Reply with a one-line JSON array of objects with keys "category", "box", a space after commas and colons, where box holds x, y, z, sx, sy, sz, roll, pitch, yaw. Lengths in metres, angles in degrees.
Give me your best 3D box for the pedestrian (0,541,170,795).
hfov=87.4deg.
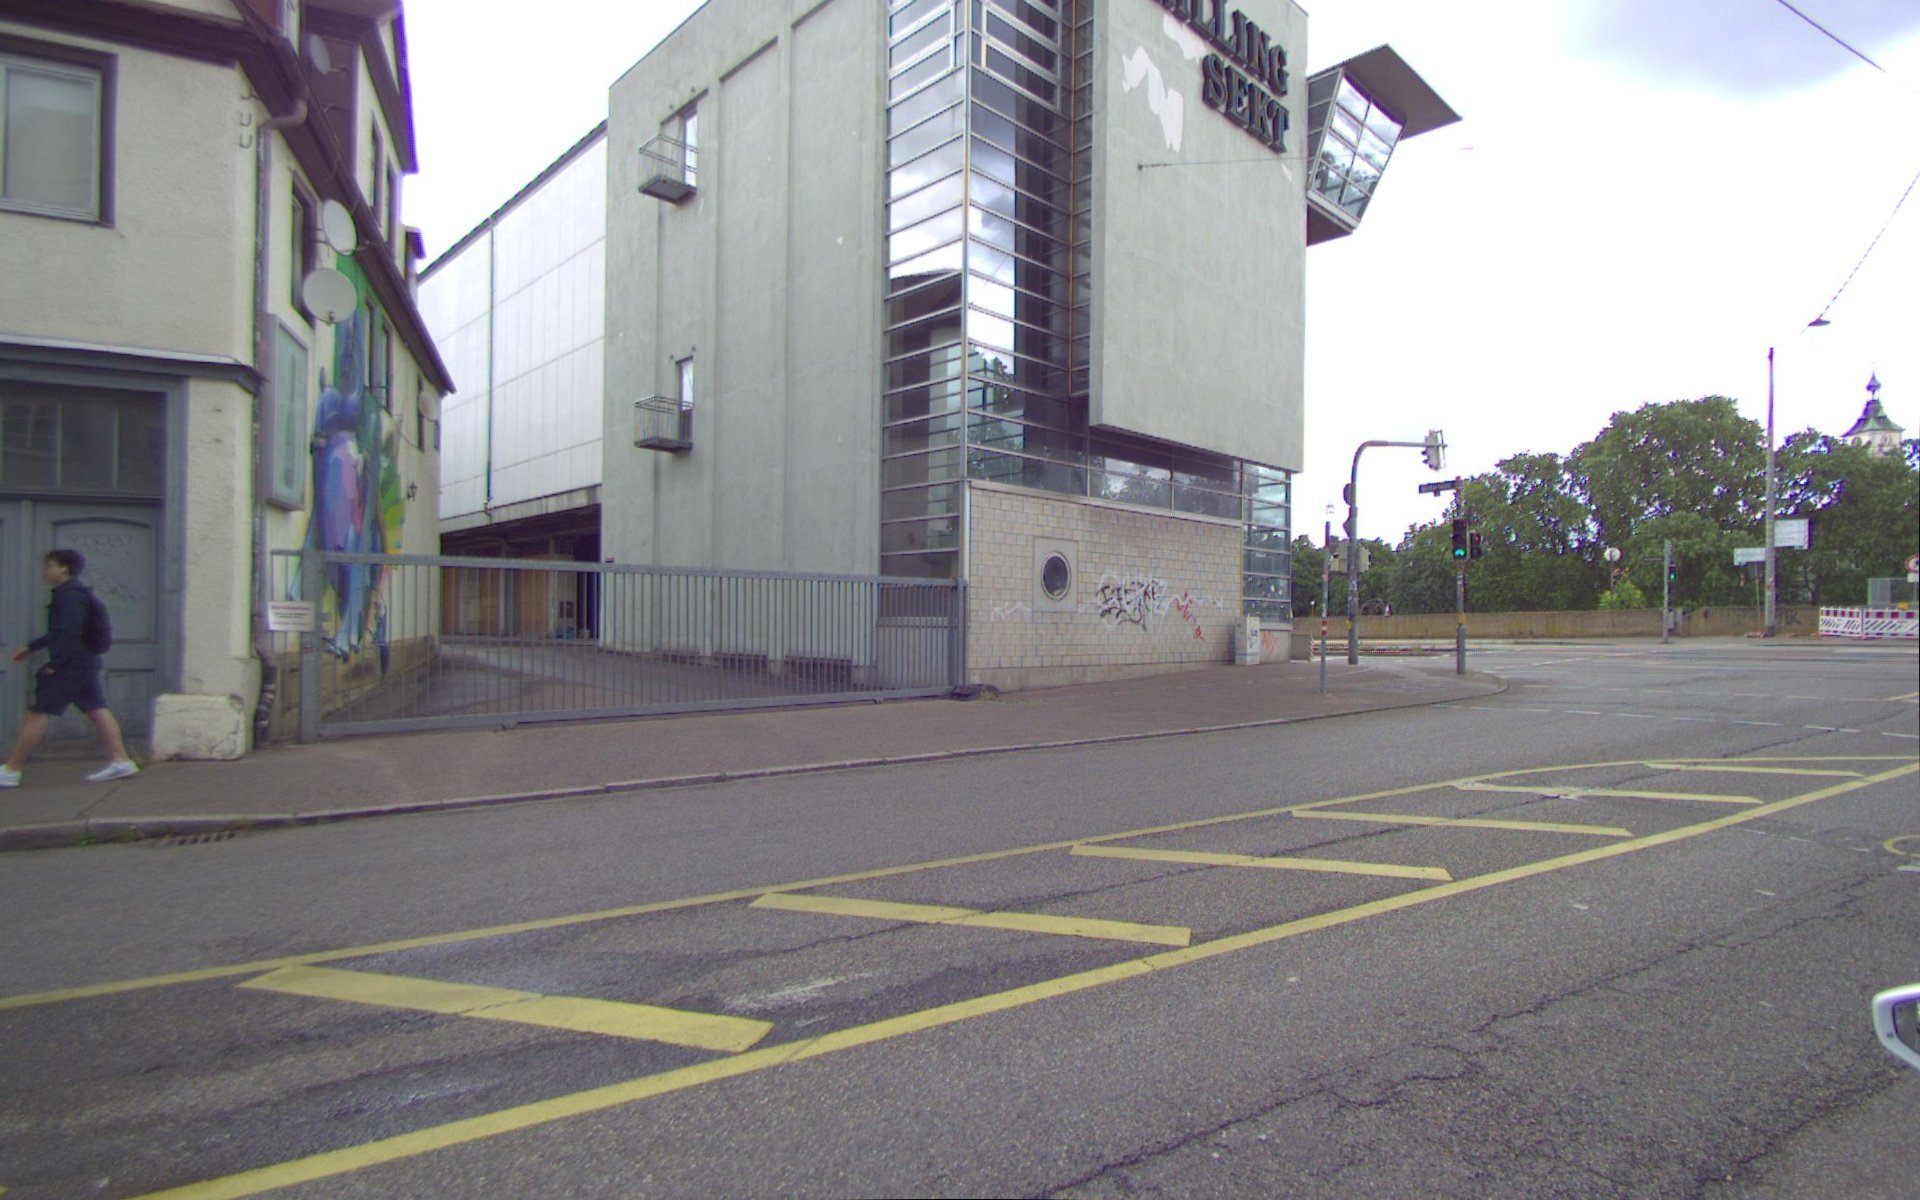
[{"category": "pedestrian", "box": [-7.207, 0.503, 8.112, 1.077, 1.911, 1.050, -1, 1, -27]}]
